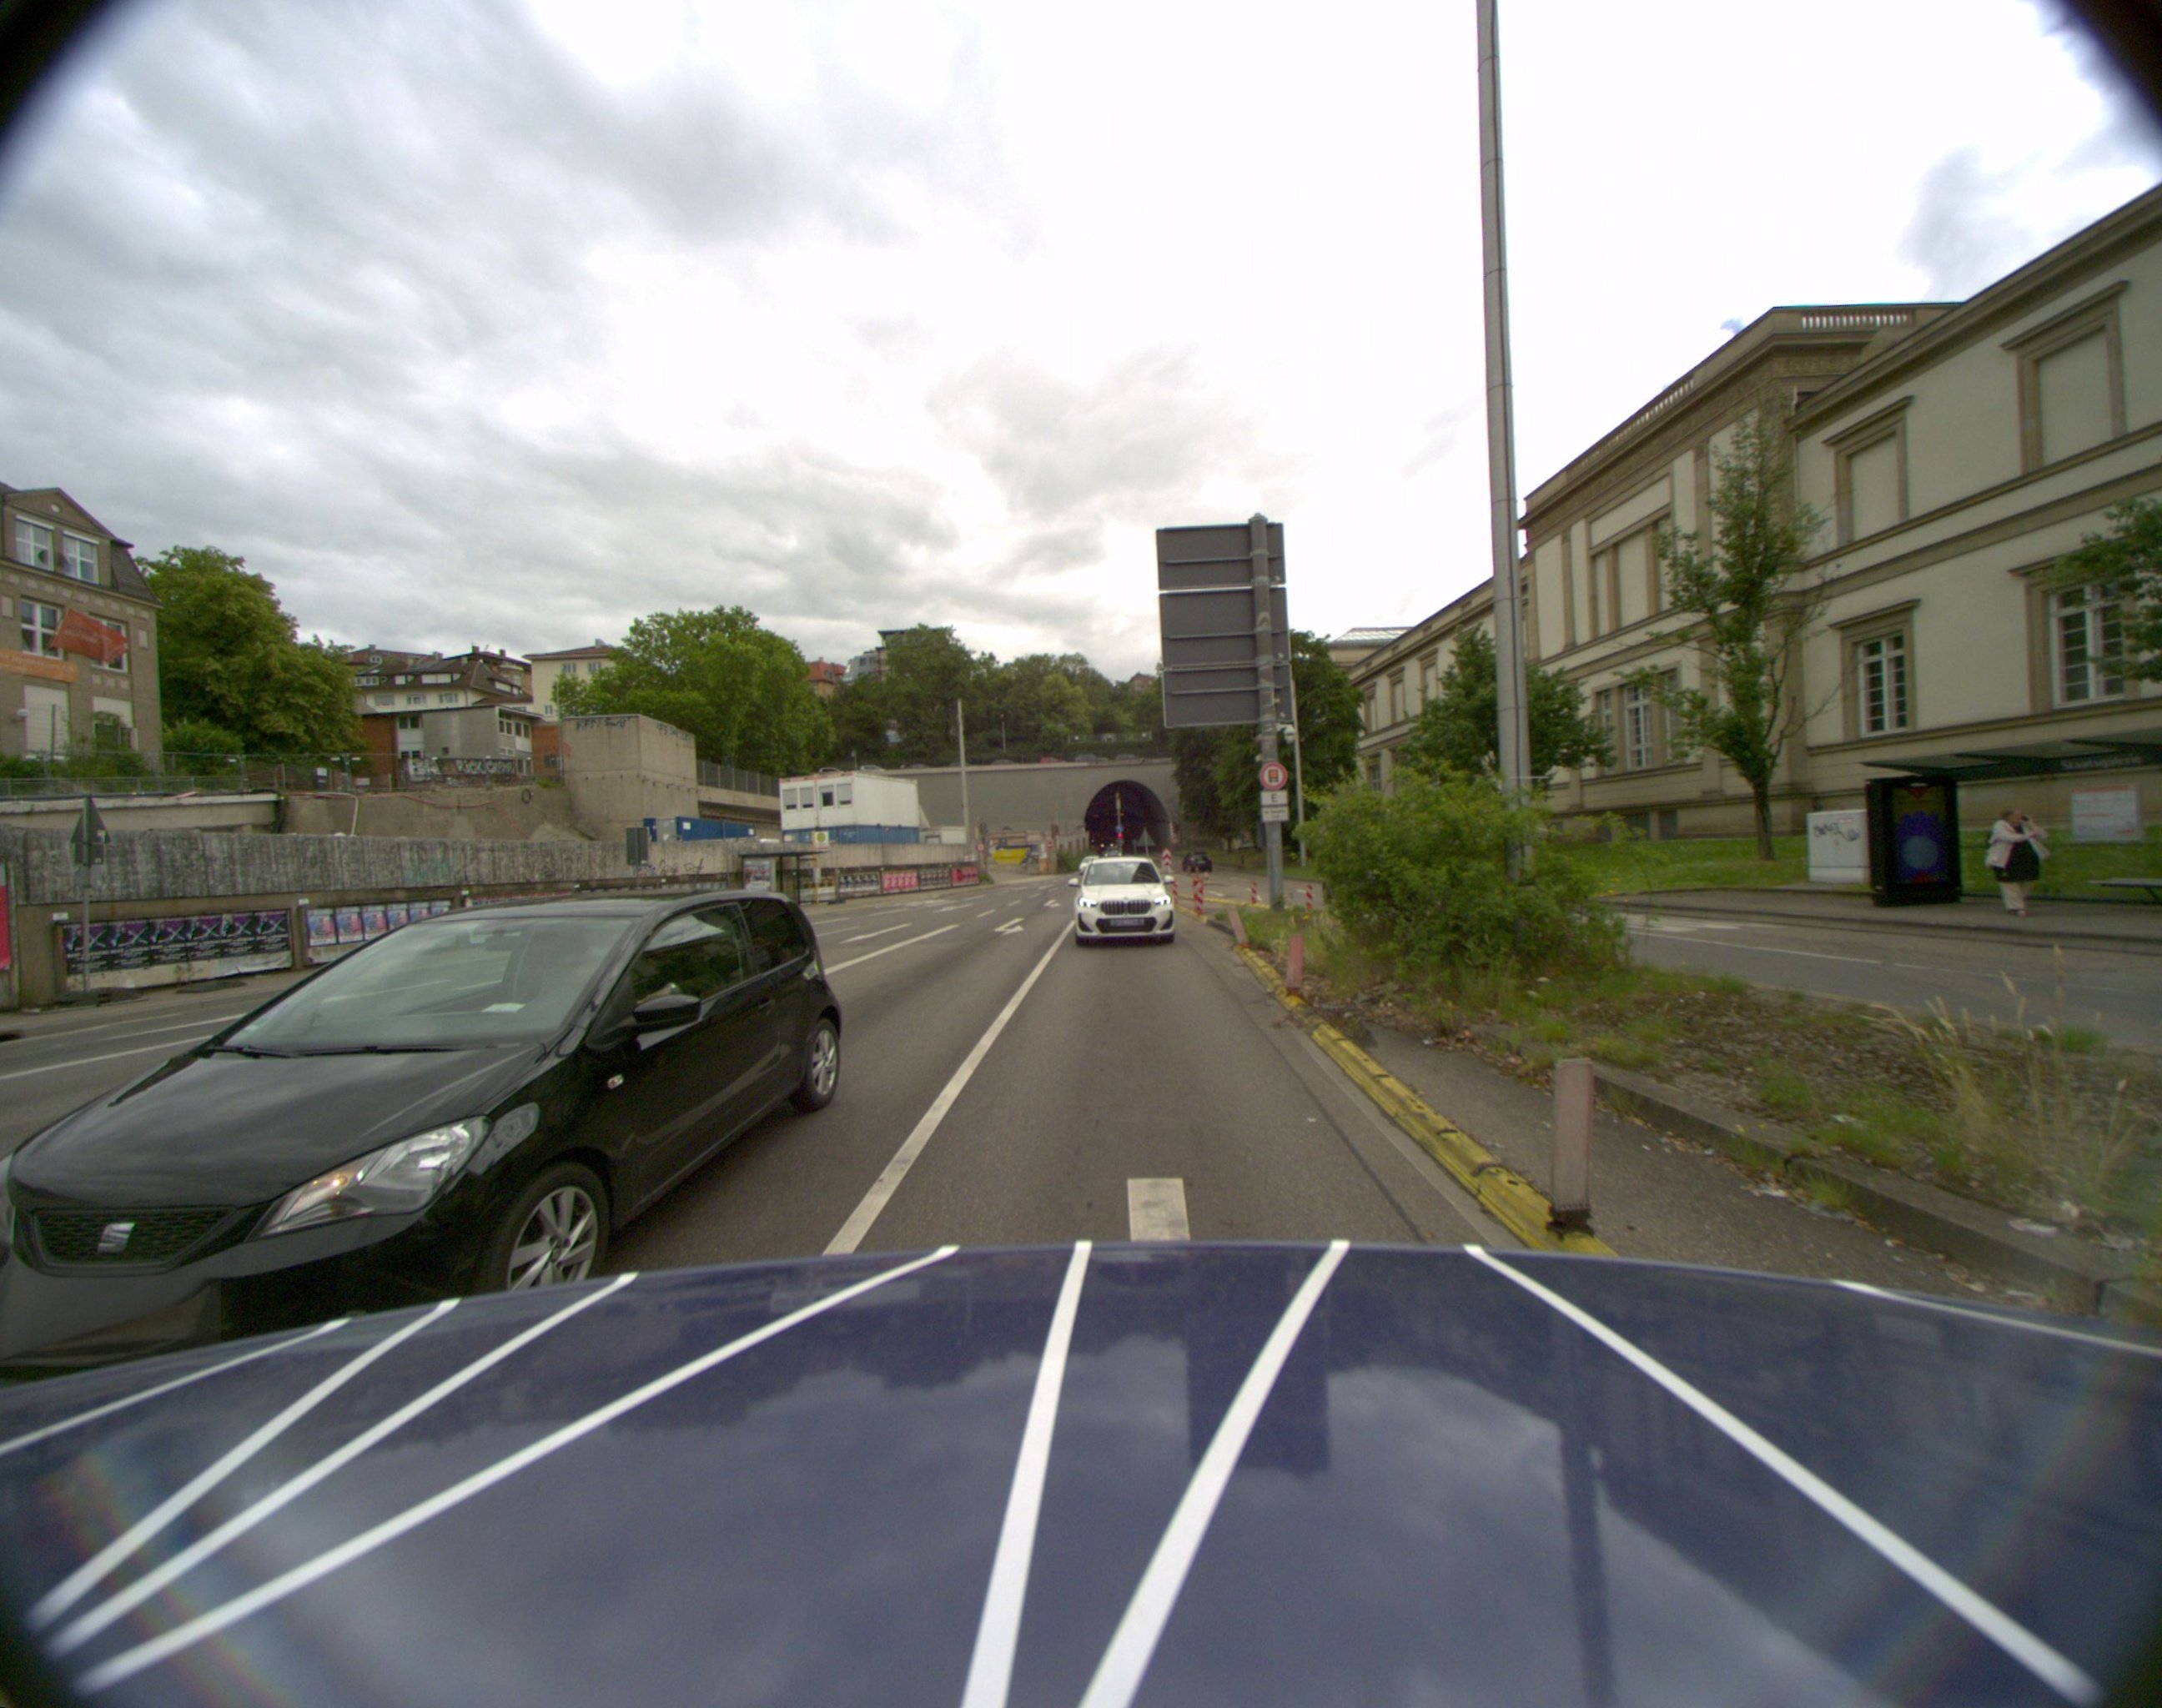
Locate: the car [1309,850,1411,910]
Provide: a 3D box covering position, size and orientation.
[{"bbox_3d":[8.116,0.712,22.445,1.667,1.581,3.882,-1,0,2],"label":"car"}]

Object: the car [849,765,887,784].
[{"bbox_3d":[-26.096,-9.771,93.157,3.998,2.002,1.999,-2,1,-5],"label":"car"}]

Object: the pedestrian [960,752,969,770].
[{"bbox_3d":[-13.931,-11.131,90.853,0.851,2.002,0.906,-3,1,-3],"label":"pedestrian"}]

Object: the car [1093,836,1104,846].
[{"bbox_3d":[2.895,-2.158,125.944,1.705,1.550,4.550,-3,0,1],"label":"car"}]

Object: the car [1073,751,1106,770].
[{"bbox_3d":[1.016,-11.550,94.304,3.998,2.002,1.999,-2,1,-2],"label":"car"}]

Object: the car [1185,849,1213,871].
[{"bbox_3d":[8.985,0.448,58.127,1.667,1.581,3.882,-1,0,2],"label":"car"}]

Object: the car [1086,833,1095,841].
[{"bbox_3d":[1.798,-3.345,148.658,1.728,1.310,4.000,-3,0,1],"label":"car"}]

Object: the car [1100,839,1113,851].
[{"bbox_3d":[3.641,-1.301,109.046,1.704,1.550,4.551,-3,0,2],"label":"car"}]

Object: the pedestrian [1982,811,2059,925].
[{"bbox_3d":[14.256,0.208,11.543,0.586,1.685,0.459,-2,0,35],"label":"pedestrian"}]

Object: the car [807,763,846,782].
[{"bbox_3d":[-31.145,-9.953,93.089,3.998,2.002,1.999,-2,1,-5],"label":"car"}]

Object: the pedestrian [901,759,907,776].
[{"bbox_3d":[-21.758,-10.605,93.455,0.581,2.002,0.577,-2,1,-3],"label":"pedestrian"}]

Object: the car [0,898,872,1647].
[{"bbox_3d":[-2.482,1.110,3.707,1.667,1.487,3.882,-3,0,2],"label":"car"}]

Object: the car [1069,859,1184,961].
[{"bbox_3d":[0.819,0.952,14.577,1.848,1.581,3.882,-3,0,2],"label":"car"}]

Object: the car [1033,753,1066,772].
[{"bbox_3d":[-3.861,-11.367,94.214,3.998,2.002,1.999,-2,1,-2],"label":"car"}]

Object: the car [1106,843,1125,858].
[{"bbox_3d":[3.891,-0.384,84.632,1.825,1.562,4.655,-3,0,5],"label":"car"}]

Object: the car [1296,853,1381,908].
[{"bbox_3d":[7.880,0.761,23.467,1.539,1.542,2.823,-2,0,-2],"label":"car"}]

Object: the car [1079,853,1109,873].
[{"bbox_3d":[1.143,0.748,64.288,1.662,1.470,4.003,-3,0,12],"label":"car"}]
